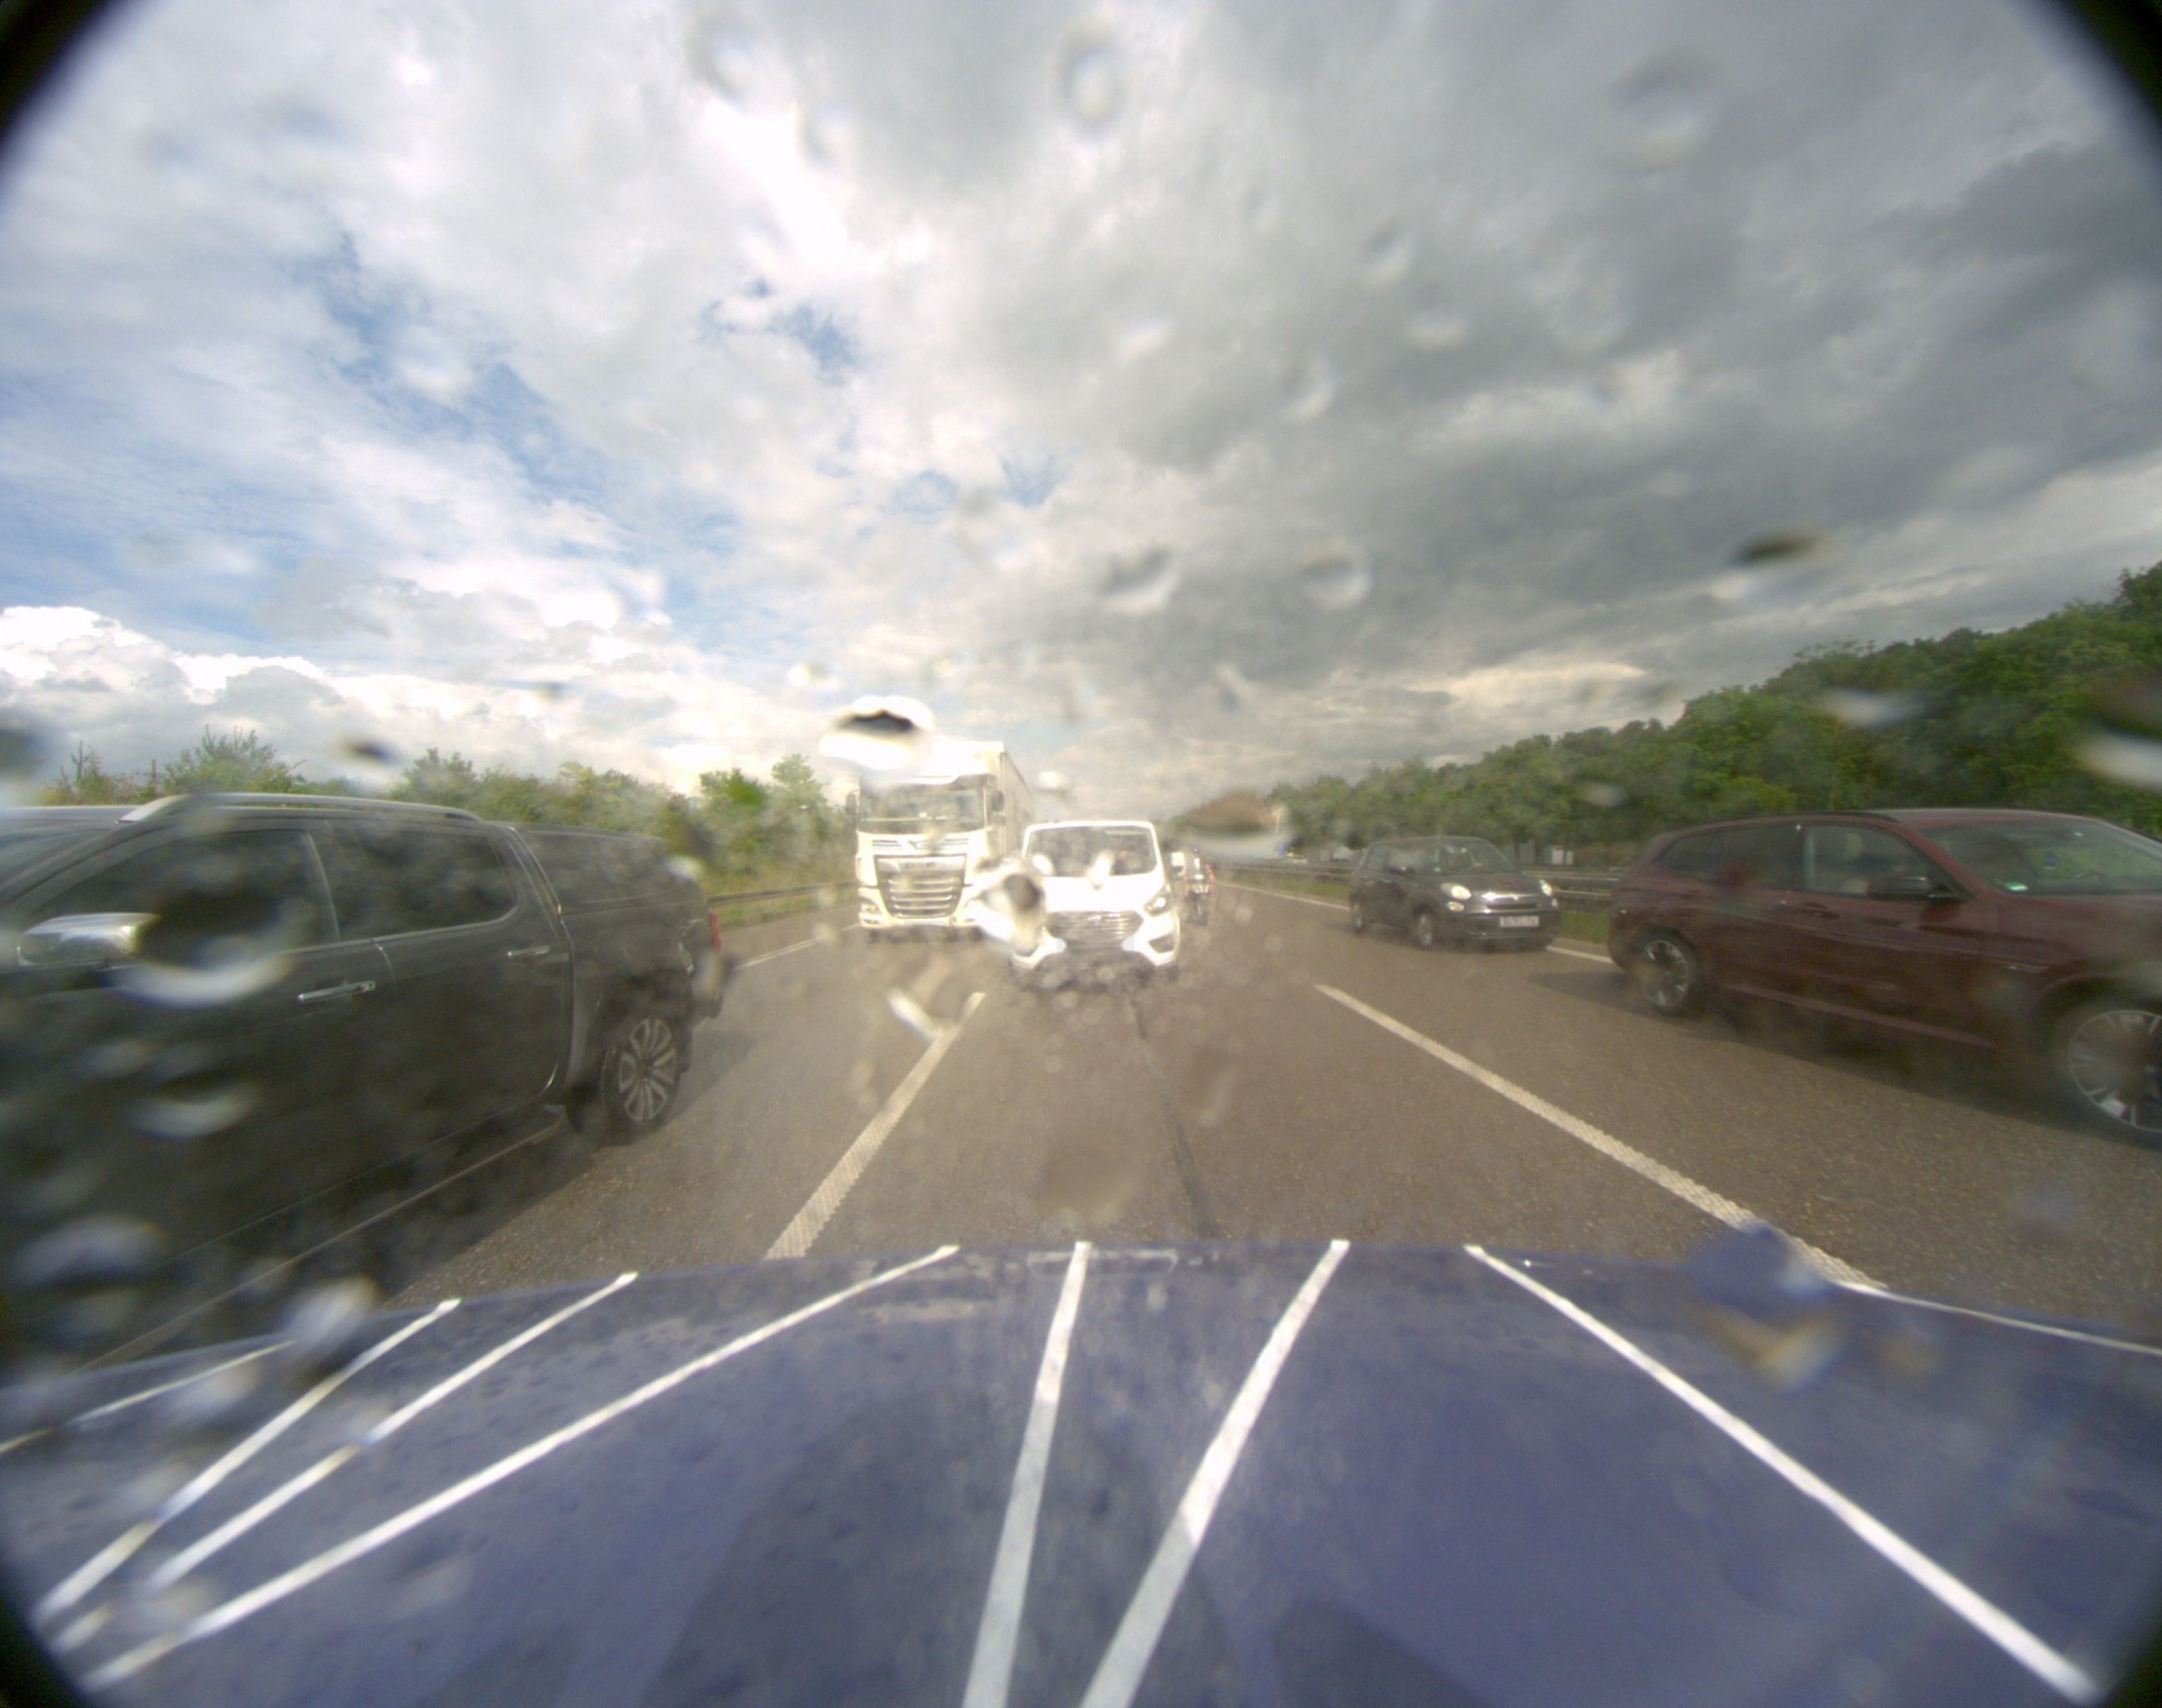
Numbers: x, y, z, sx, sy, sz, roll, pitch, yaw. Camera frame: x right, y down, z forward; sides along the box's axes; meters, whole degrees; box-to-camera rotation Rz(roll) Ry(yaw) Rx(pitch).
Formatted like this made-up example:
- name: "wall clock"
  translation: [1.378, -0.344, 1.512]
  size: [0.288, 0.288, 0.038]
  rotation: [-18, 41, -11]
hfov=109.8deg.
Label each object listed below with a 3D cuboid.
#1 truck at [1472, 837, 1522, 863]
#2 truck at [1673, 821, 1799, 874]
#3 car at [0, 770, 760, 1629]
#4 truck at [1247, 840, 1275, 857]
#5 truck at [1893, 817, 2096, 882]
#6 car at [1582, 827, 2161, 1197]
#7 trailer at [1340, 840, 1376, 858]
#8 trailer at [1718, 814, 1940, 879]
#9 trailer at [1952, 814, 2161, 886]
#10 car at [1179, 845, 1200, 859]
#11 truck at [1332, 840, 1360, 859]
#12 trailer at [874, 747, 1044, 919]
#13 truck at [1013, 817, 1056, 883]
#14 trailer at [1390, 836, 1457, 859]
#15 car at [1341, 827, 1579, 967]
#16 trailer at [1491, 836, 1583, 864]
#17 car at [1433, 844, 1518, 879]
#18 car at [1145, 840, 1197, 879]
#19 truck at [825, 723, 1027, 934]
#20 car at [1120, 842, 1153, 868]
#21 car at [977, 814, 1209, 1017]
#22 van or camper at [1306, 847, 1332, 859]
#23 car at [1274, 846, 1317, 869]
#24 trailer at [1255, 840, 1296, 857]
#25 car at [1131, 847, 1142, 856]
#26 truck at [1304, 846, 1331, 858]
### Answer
- name: "truck"
  translation: [55.324, -0.597, 101.244]
  size: [3.362, 3.254, 5.505]
  rotation: [-2, 1, -4]
- name: "truck"
  translation: [57.155, -0.585, 66.736]
  size: [3.797, 4.210, 8.416]
  rotation: [-2, 1, 1]
- name: "car"
  translation: [-3.408, 0.785, 2.860]
  size: [1.947, 1.908, 5.651]
  rotation: [-2, 1, 0]
- name: "truck"
  translation: [41.344, -1.250, 174.953]
  size: [3.219, 3.683, 6.907]
  rotation: [-2, 1, -14]
- name: "truck"
  translation: [56.362, -0.298, 47.301]
  size: [3.797, 3.569, 7.354]
  rotation: [-2, 1, 1]
- name: "car"
  translation: [5.702, 0.665, 4.848]
  size: [1.914, 1.627, 4.615]
  rotation: [-1, 1, -1]
- name: "trailer"
  translation: [50.101, -0.862, 137.832]
  size: [2.588, 3.214, 7.734]
  rotation: [-1, 1, -10]
- name: "trailer"
  translation: [57.108, -0.559, 59.042]
  size: [3.798, 4.380, 13.801]
  rotation: [-1, 0, 1]
- name: "trailer"
  translation: [56.253, -0.231, 40.803]
  size: [3.798, 3.627, 13.345]
  rotation: [-1, 0, 1]
- name: "car"
  translation: [15.326, -0.283, 107.543]
  size: [2.057, 1.765, 5.208]
  rotation: [-2, 1, 0]
- name: "truck"
  translation: [49.350, -0.866, 141.566]
  size: [2.663, 3.249, 5.081]
  rotation: [-2, 1, -11]
- name: "trailer"
  translation: [-3.192, -0.509, 24.806]
  size: [3.292, 3.876, 14.126]
  rotation: [-3, 0, -1]
- name: "truck"
  translation: [-3.249, -0.280, 53.528]
  size: [2.650, 4.250, 6.882]
  rotation: [-2, 1, -3]
- name: "trailer"
  translation: [53.059, -0.933, 118.293]
  size: [2.832, 3.385, 13.417]
  rotation: [-1, 0, -7]
- name: "car"
  translation: [5.684, 0.544, 12.012]
  size: [1.697, 1.794, 3.975]
  rotation: [-2, 1, -1]
- name: "trailer"
  translation: [55.668, -0.507, 93.396]
  size: [3.356, 3.198, 12.471]
  rotation: [-1, 0, -2]
- name: "car"
  translation: [22.071, 0.385, 42.791]
  size: [2.057, 1.765, 5.208]
  rotation: [-2, 1, 0]
- name: "car"
  translation: [5.210, 0.270, 44.623]
  size: [2.350, 2.033, 5.142]
  rotation: [-2, 1, 0]
- name: "truck"
  translation: [-3.161, -0.493, 17.651]
  size: [3.293, 3.868, 6.395]
  rotation: [-3, 0, -1]
- name: "car"
  translation: [4.666, 0.044, 64.622]
  size: [2.350, 2.033, 5.142]
  rotation: [-2, 1, 0]
- name: "car"
  translation: [0.113, 0.617, 10.500]
  size: [2.350, 2.033, 5.142]
  rotation: [-2, 1, 0]
- name: "van or camper"
  translation: [47.687, -0.263, 152.348]
  size: [2.126, 2.252, 6.316]
  rotation: [-2, 1, -13]
- name: "car"
  translation: [18.298, 0.256, 65.048]
  size: [2.057, 1.765, 5.208]
  rotation: [-2, 1, 0]
- name: "trailer"
  translation: [42.996, -1.220, 168.582]
  size: [3.216, 3.717, 12.553]
  rotation: [-1, 0, -14]
- name: "car"
  translation: [13.149, -0.562, 181.009]
  size: [2.057, 2.034, 5.208]
  rotation: [-2, 1, 0]
- name: "truck"
  translation: [47.414, -0.423, 152.497]
  size: [2.126, 2.252, 6.311]
  rotation: [-2, 1, -13]
